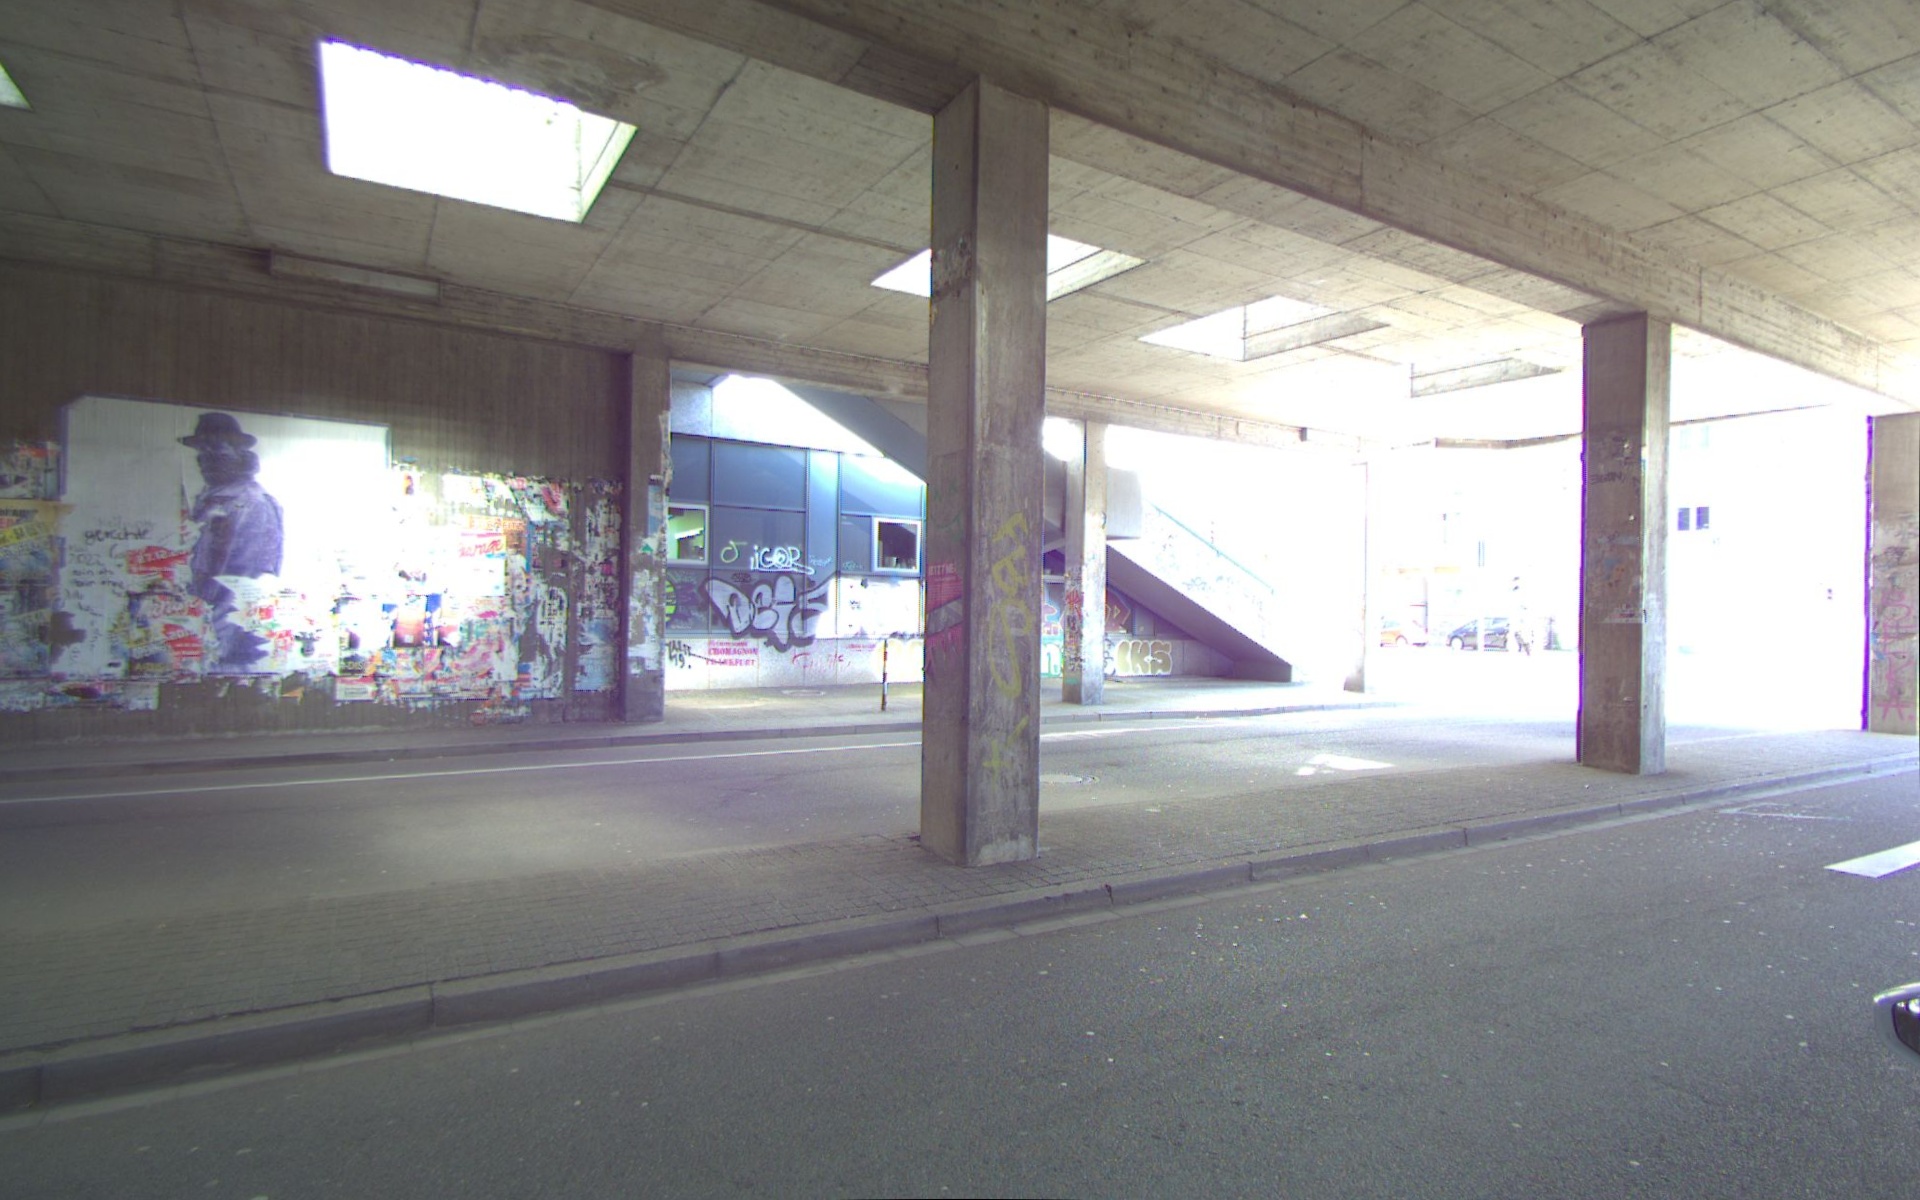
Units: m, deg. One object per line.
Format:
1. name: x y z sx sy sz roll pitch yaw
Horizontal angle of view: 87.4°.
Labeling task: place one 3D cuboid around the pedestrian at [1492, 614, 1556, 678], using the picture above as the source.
1. pedestrian: 15.869 1.272 28.263 1.123 1.760 1.111 1 -1 -17

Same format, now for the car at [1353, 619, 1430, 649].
1. car: 22.470 1.753 52.449 1.543 1.526 3.518 1 -1 -29

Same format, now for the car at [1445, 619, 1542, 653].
1. car: 25.359 1.700 47.836 1.732 1.528 3.735 1 -1 -31
